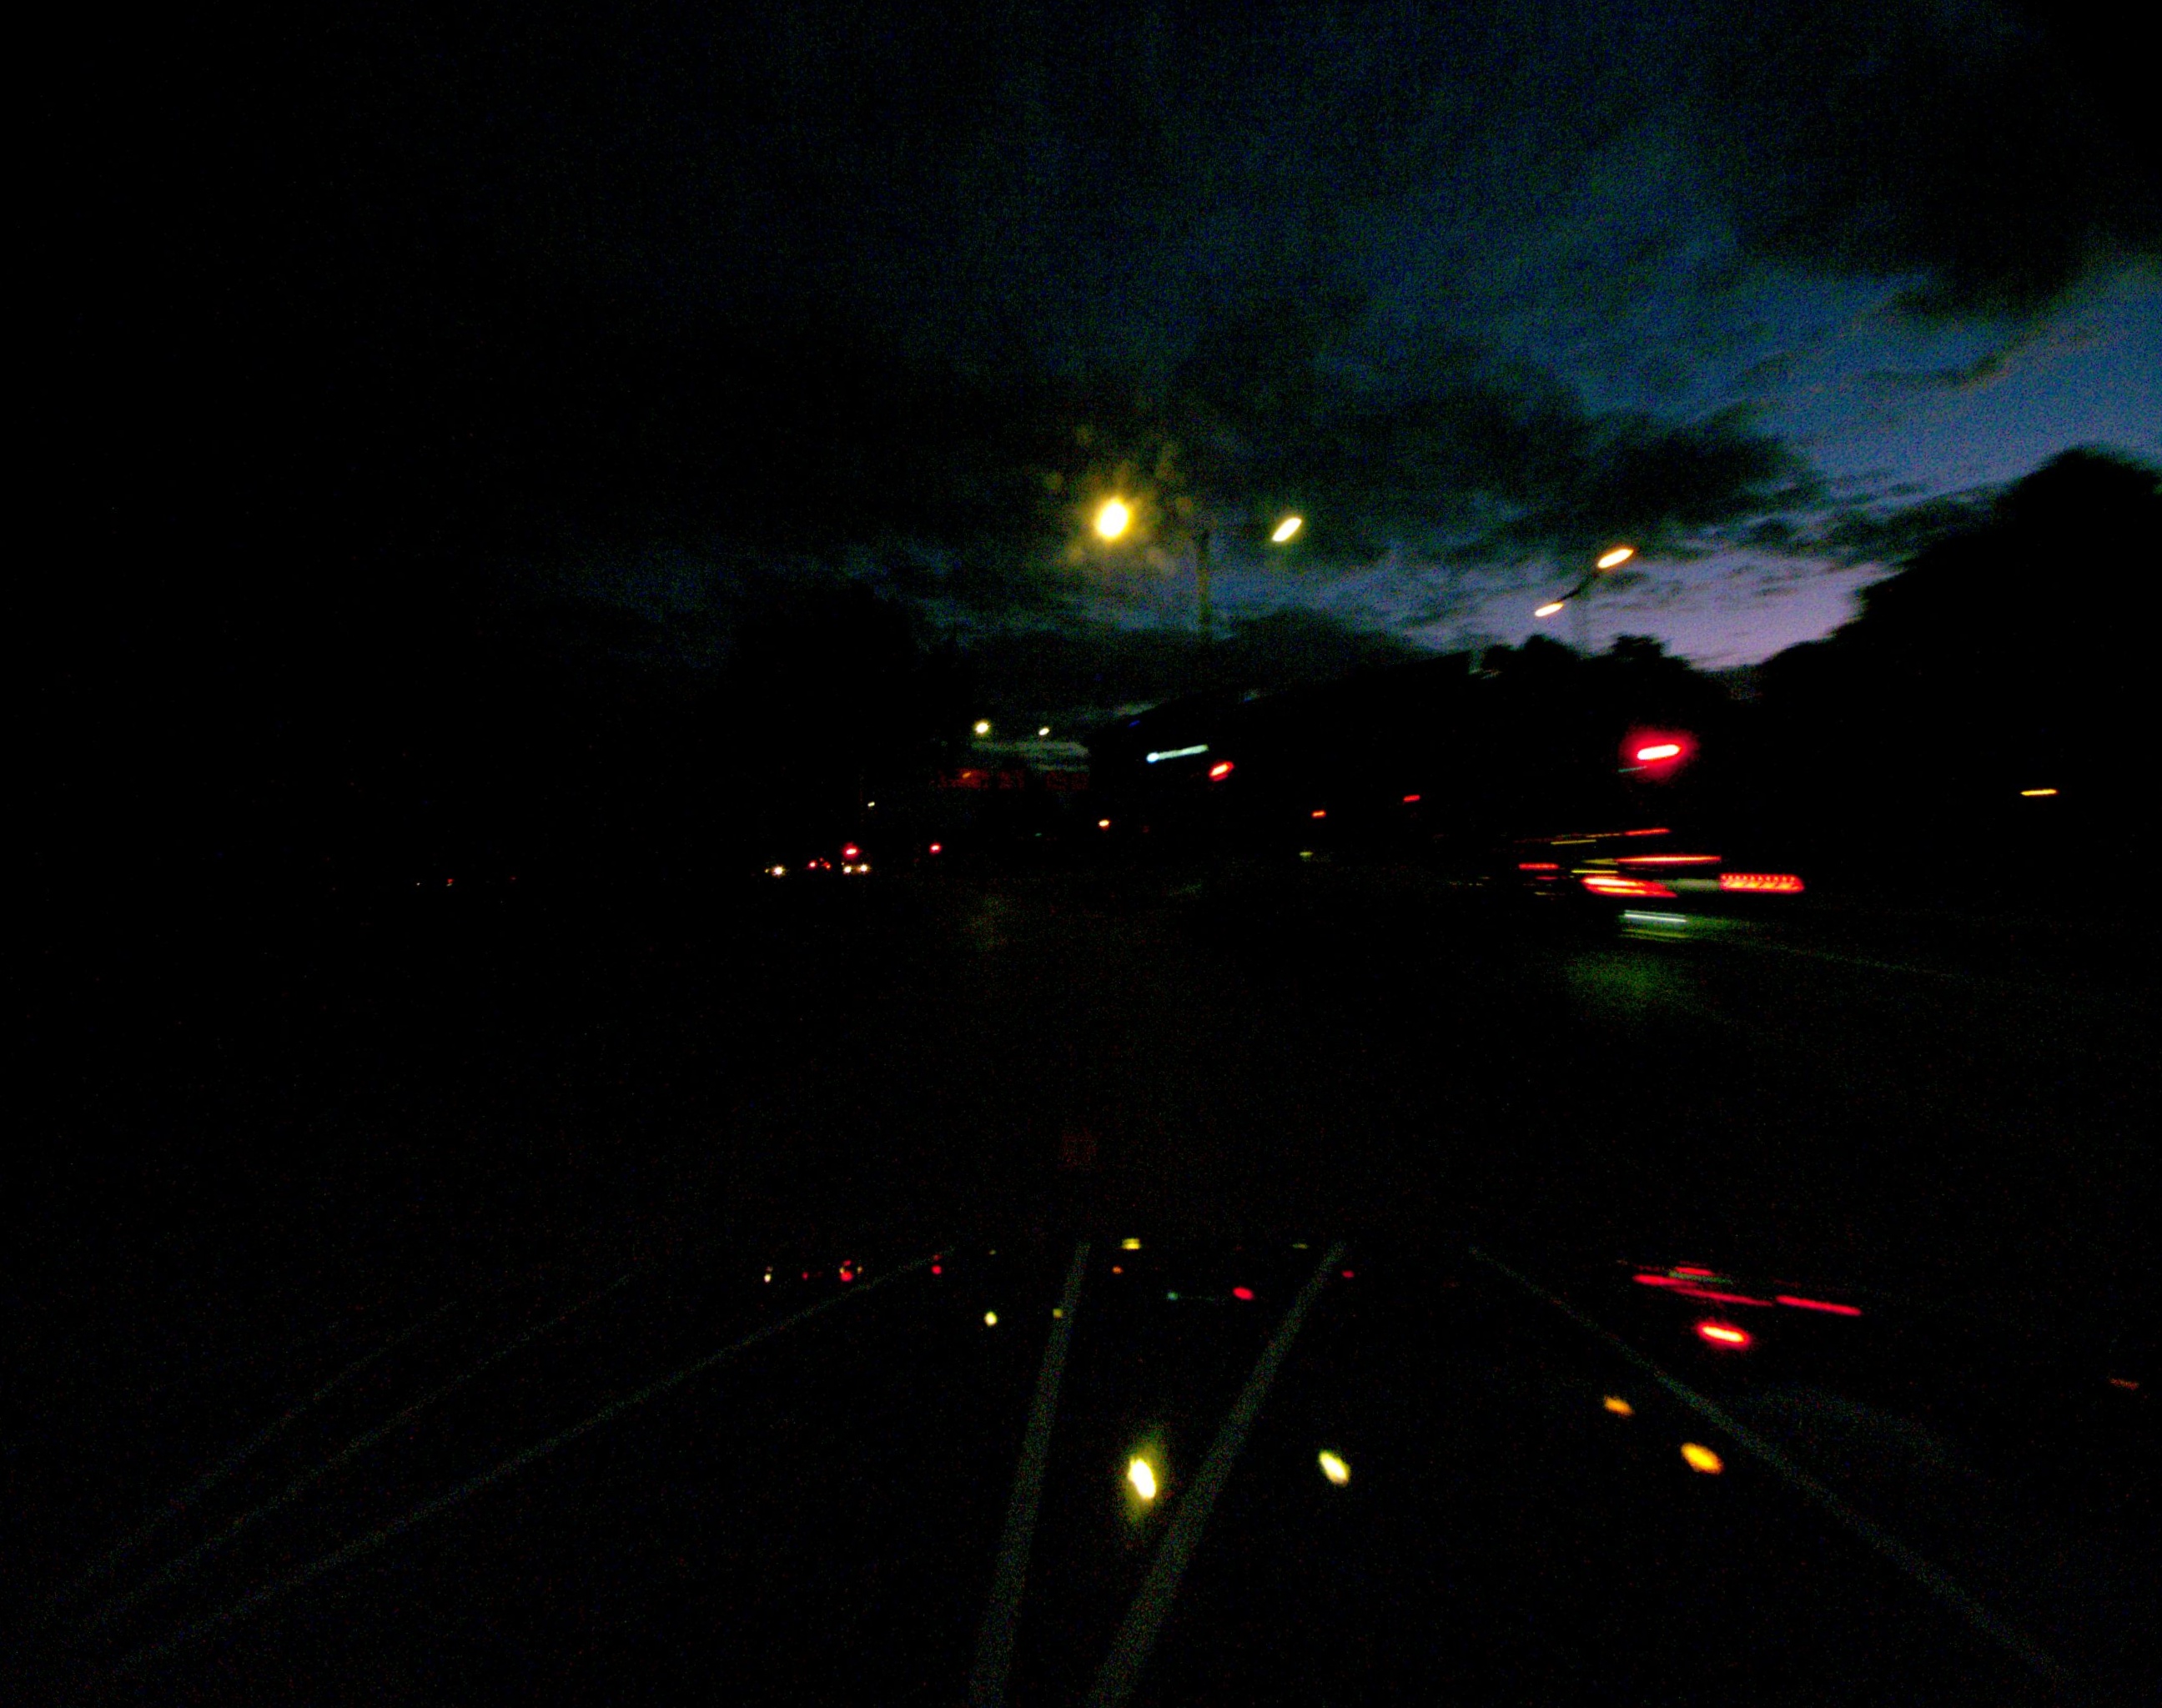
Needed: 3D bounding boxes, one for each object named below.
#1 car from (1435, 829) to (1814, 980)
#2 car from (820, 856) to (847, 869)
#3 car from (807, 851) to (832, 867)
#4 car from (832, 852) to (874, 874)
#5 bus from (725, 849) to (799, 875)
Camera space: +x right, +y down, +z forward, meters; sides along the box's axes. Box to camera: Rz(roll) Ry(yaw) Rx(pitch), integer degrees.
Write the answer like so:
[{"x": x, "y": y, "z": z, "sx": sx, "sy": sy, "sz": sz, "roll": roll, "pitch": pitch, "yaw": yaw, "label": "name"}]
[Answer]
[{"x": 6.450, "y": 0.464, "z": 9.811, "sx": 1.763, "sy": 1.437, "sz": 4.527, "roll": -2, "pitch": 1, "yaw": 2, "label": "car"}, {"x": -30.233, "y": 1.029, "z": 92.825, "sx": 1.880, "sy": 1.389, "sz": 4.827, "roll": -3, "pitch": 0, "yaw": -33, "label": "car"}, {"x": -33.740, "y": 0.696, "z": 97.965, "sx": 1.852, "sy": 1.803, "sz": 4.764, "roll": -2, "pitch": -1, "yaw": -34, "label": "car"}, {"x": -17.765, "y": 0.701, "z": 59.065, "sx": 1.674, "sy": 1.643, "sz": 4.399, "roll": -2, "pitch": 1, "yaw": -36, "label": "car"}, {"x": -48.999, "y": 1.209, "z": 117.364, "sx": 2.610, "sy": 3.767, "sz": 12.294, "roll": -4, "pitch": -1, "yaw": 20, "label": "bus"}]
